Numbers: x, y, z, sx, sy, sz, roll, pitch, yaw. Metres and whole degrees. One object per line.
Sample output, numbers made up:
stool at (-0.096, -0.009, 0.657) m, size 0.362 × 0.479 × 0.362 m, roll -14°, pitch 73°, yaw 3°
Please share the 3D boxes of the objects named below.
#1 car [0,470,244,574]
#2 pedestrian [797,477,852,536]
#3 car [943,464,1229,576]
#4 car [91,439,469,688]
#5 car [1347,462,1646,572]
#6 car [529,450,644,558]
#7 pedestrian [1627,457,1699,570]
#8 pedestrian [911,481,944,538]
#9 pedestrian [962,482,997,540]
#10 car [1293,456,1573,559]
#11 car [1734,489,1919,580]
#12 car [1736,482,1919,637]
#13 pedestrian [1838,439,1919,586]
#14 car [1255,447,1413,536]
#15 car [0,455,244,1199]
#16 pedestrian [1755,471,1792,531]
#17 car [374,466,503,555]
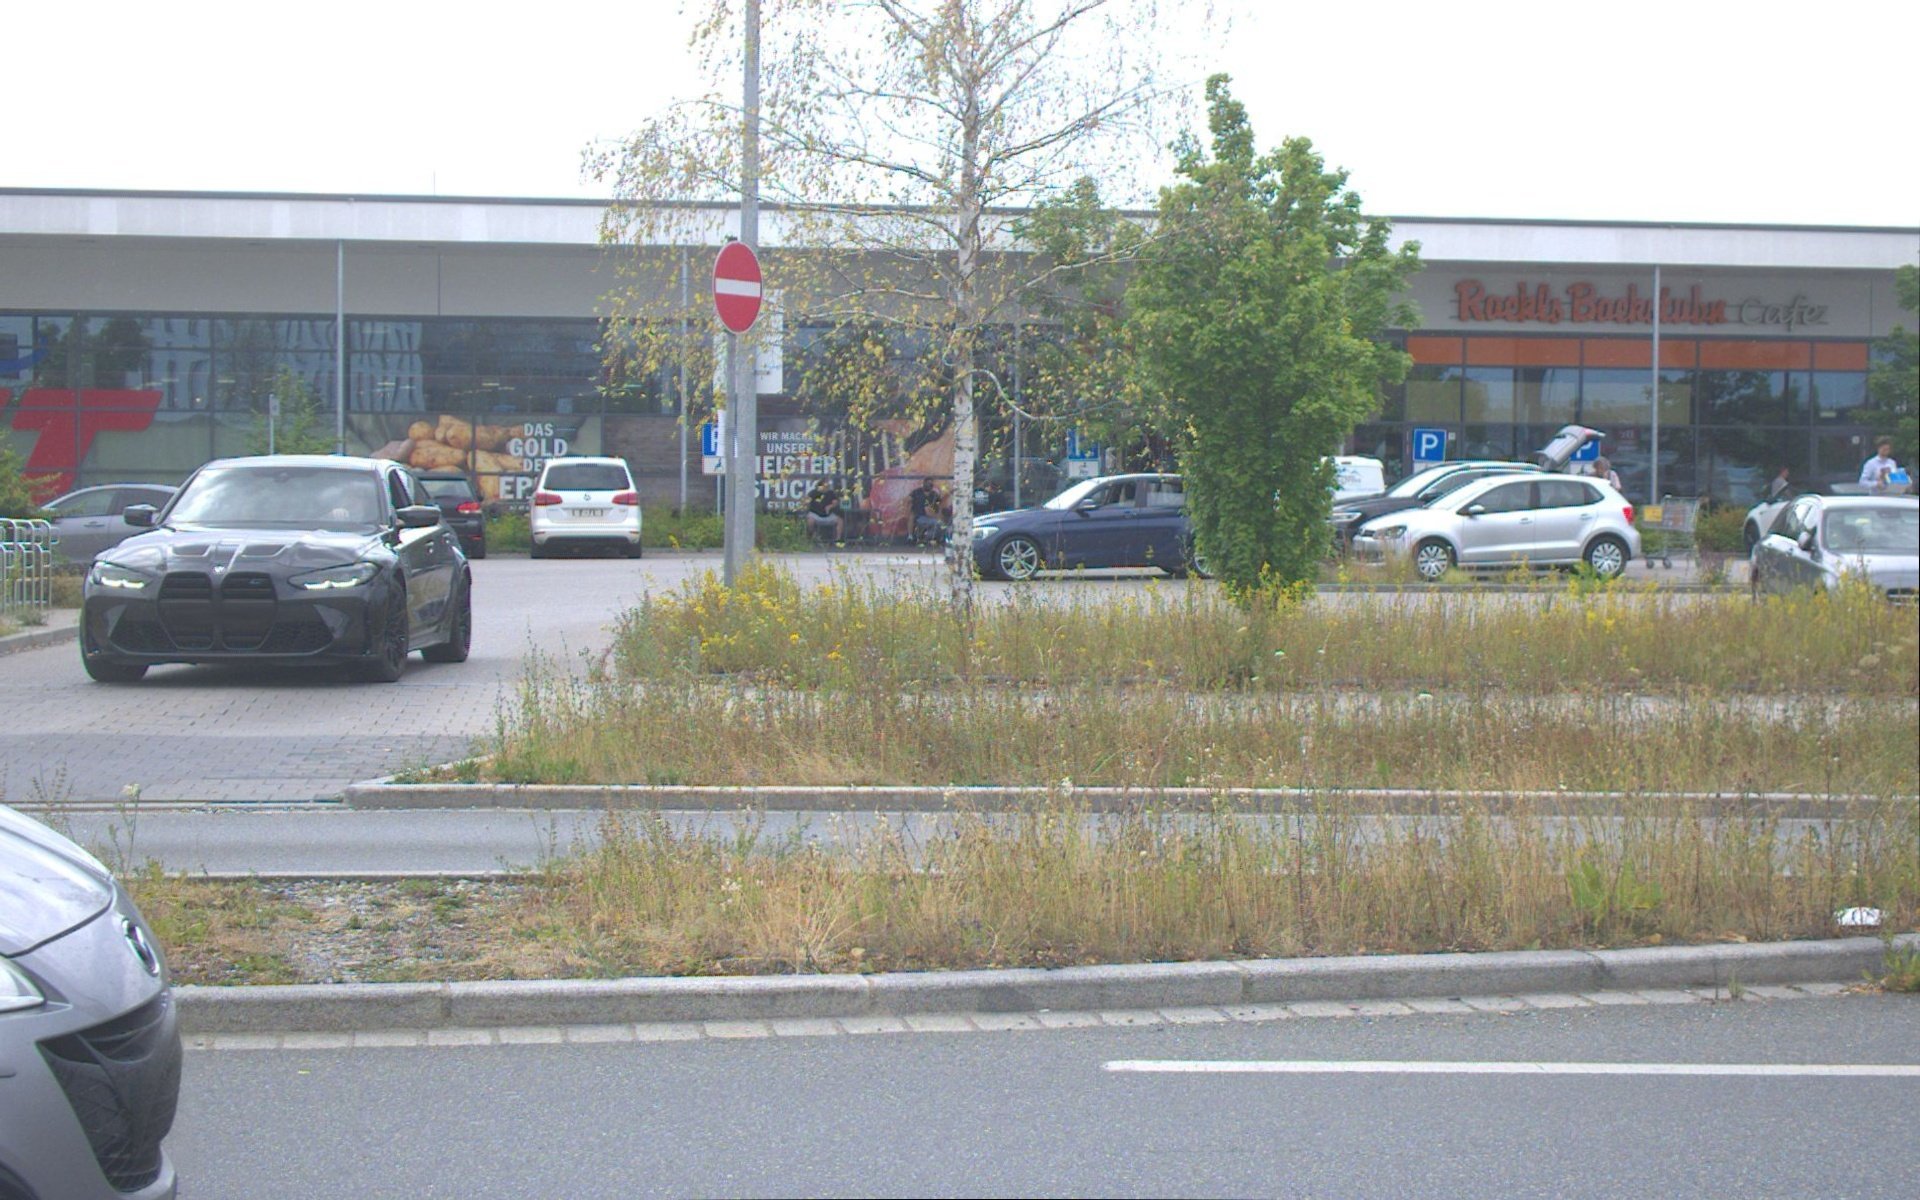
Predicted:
car at (-11.903, -1.092, 47.185) m, size 3.986 × 1.347 × 2.001 m, roll 1°, pitch 2°, yaw -10°
pedestrian at (-2.713, -1.871, 68.786) m, size 0.970 × 1.150 × 1.133 m, roll 0°, pitch 3°, yaw -9°
car at (1.678, -1.091, 46.565) m, size 3.606 × 1.449 × 1.668 m, roll 0°, pitch 3°, yaw -8°
car at (-4.319, -0.282, 22.468) m, size 1.779 × 1.440 × 4.611 m, roll 1°, pitch 2°, yaw -3°
car at (7.399, -1.160, 47.582) m, size 3.746 × 1.449 × 1.668 m, roll 0°, pitch 3°, yaw -7°
car at (-6.332, -1.670, 58.628) m, size 1.824 × 1.694 × 4.235 m, roll 0°, pitch 3°, yaw -5°
pedestrian at (10.359, -1.278, 50.684) m, size 0.821 × 1.626 × 0.899 m, roll 1°, pitch 2°, yaw -2°
pedestrian at (-0.650, -1.800, 68.620) m, size 0.576 × 1.120 × 0.562 m, roll 0°, pitch 2°, yaw -11°
pedestrian at (0.379, -1.752, 67.735) m, size 0.576 × 1.120 × 0.562 m, roll 0°, pitch 2°, yaw -11°
car at (6.930, -1.371, 50.576) m, size 3.746 × 1.449 × 1.668 m, roll 0°, pitch 3°, yaw -7°
car at (15.572, -1.210, 61.954) m, size 1.993 × 1.502 × 4.001 m, roll 1°, pitch 3°, yaw -5°
car at (8.913, -0.424, 33.016) m, size 1.988 × 1.379 × 4.150 m, roll 1°, pitch 2°, yaw 0°
pedestrian at (12.812, -1.214, 47.620) m, size 0.864 × 2.006 × 1.004 m, roll 0°, pitch 3°, yaw -13°
car at (6.580, -1.940, 60.882) m, size 1.993 × 1.502 × 4.001 m, roll 0°, pitch 3°, yaw -5°
car at (-3.550, 0.544, 5.815) m, size 4.386 × 1.557 × 1.822 m, roll 0°, pitch 4°, yaw -5°
pedestrian at (16.394, -1.992, 69.265) m, size 0.560 × 1.197 × 0.528 m, roll 0°, pitch 2°, yaw -7°
car at (-8.859, -1.554, 58.627) m, size 1.906 × 1.439 × 4.001 m, roll 0°, pitch 2°, yaw -5°
